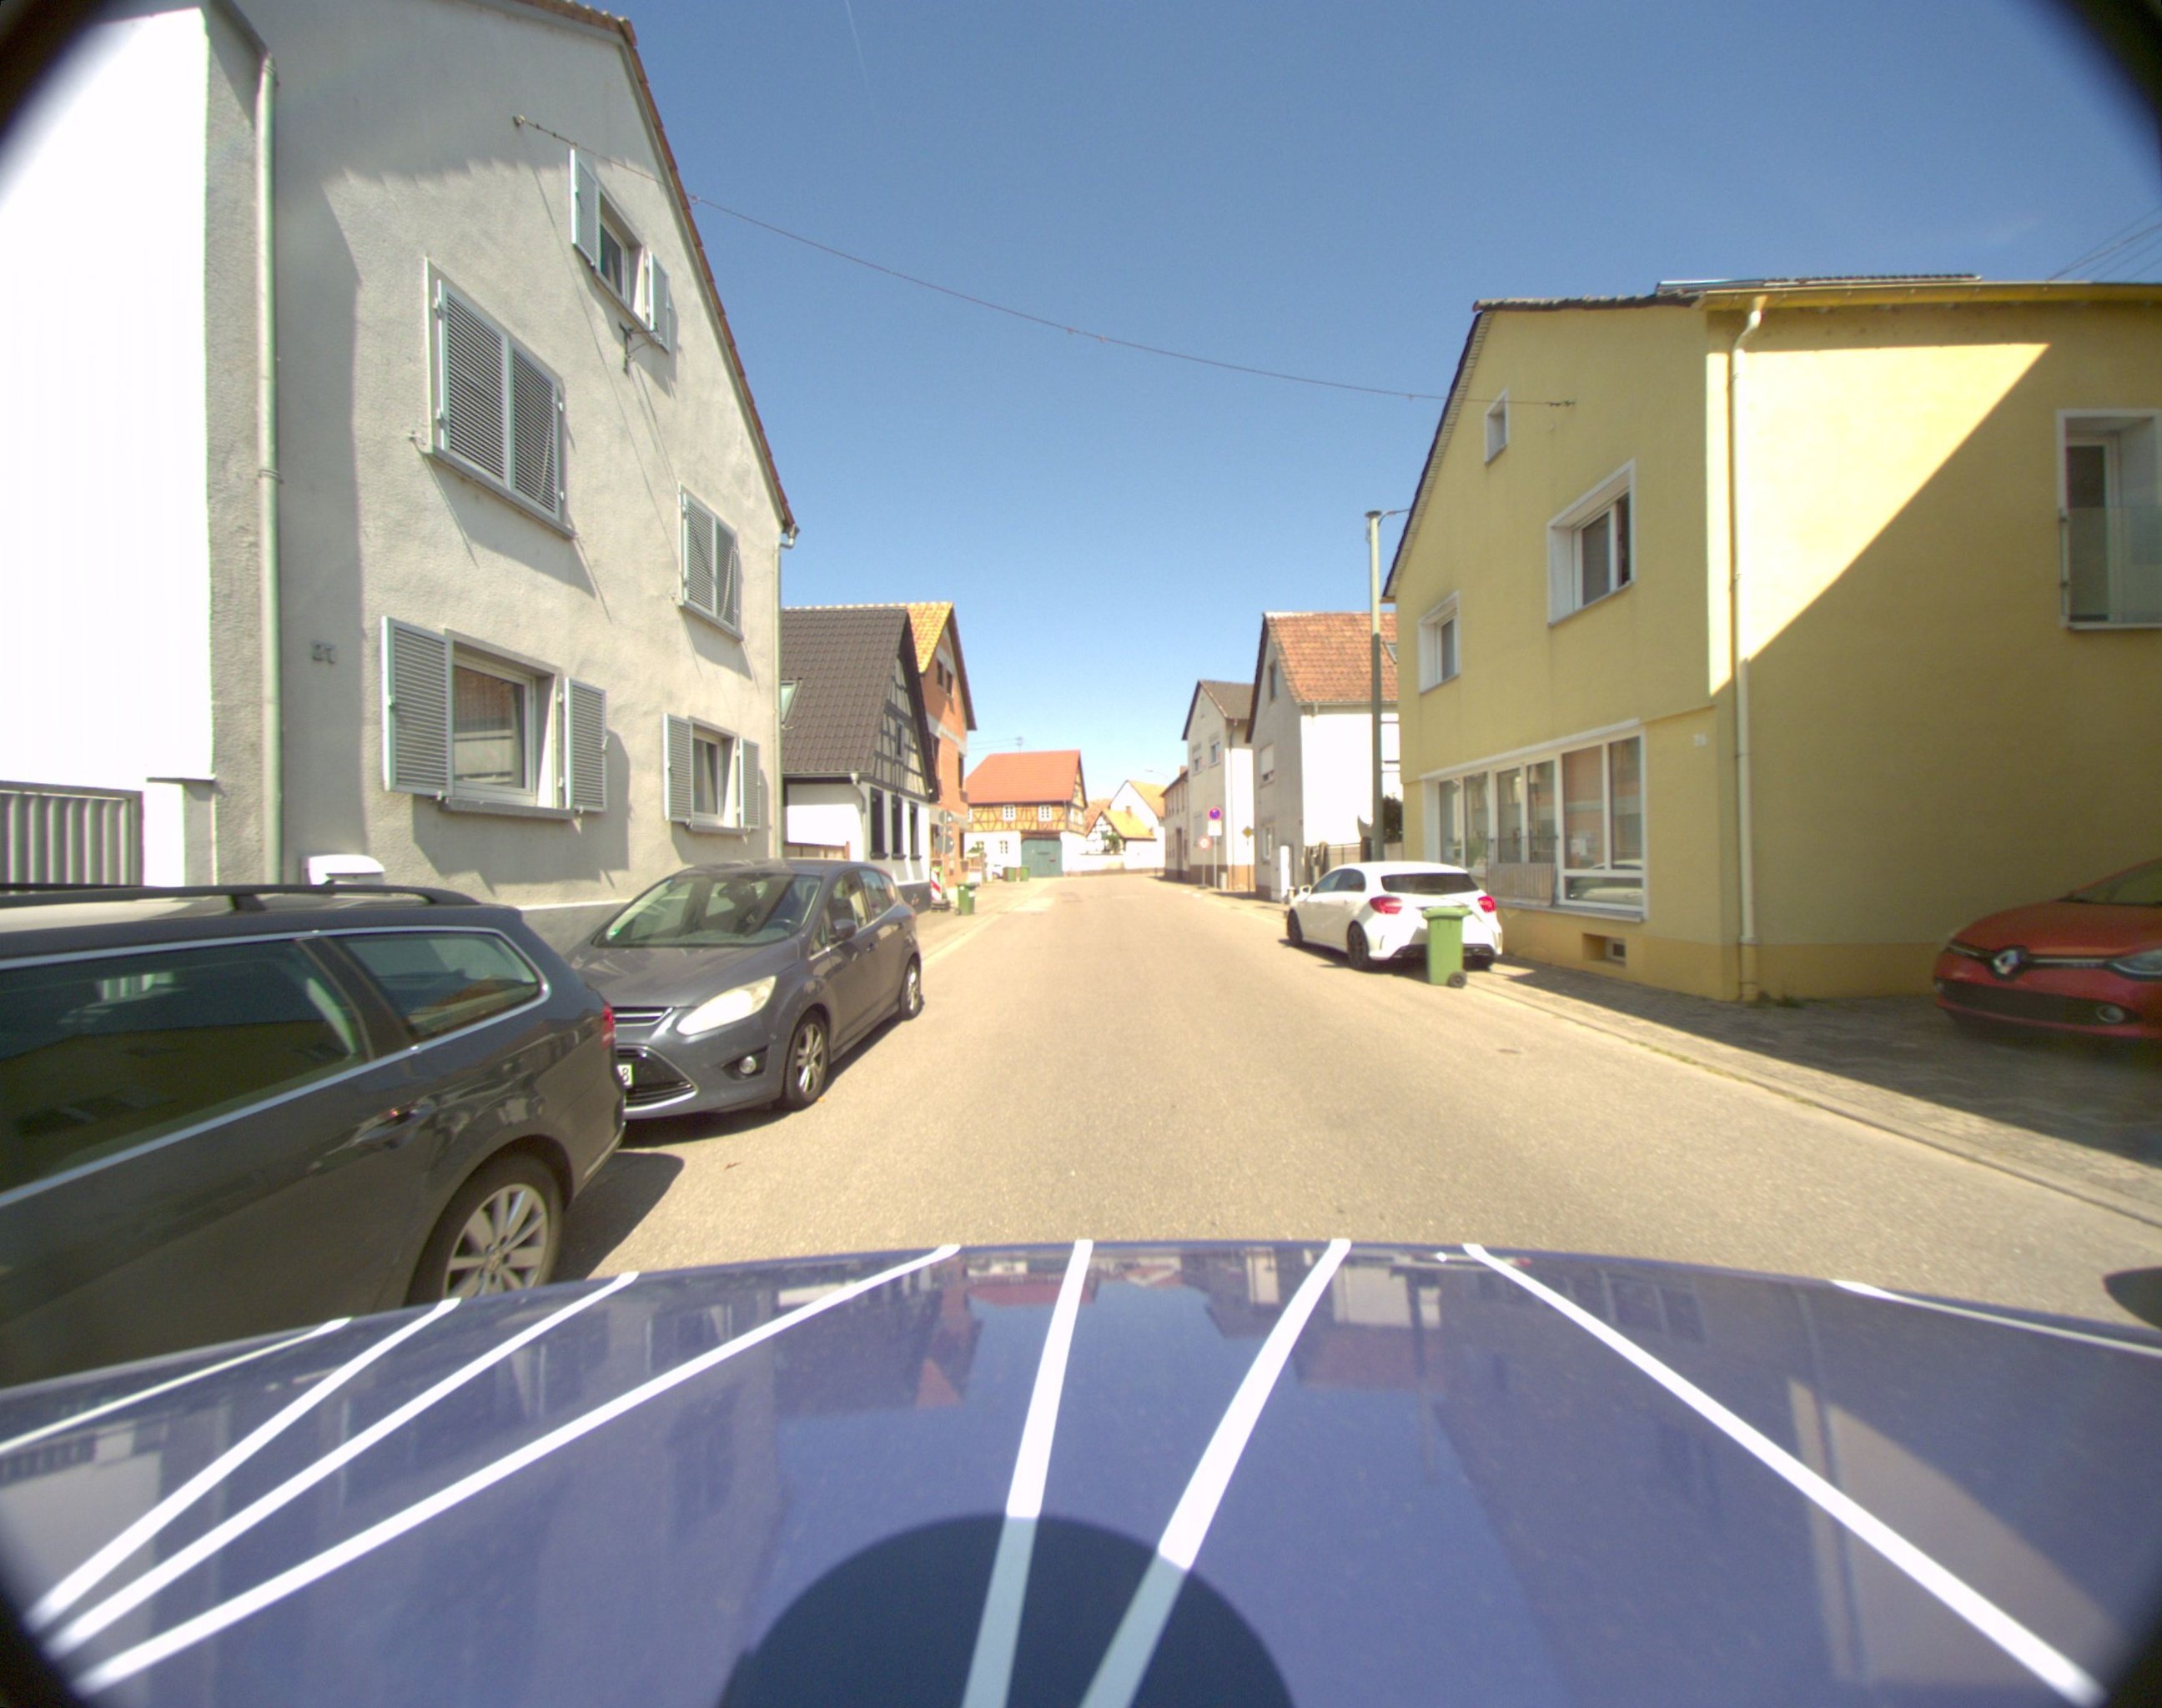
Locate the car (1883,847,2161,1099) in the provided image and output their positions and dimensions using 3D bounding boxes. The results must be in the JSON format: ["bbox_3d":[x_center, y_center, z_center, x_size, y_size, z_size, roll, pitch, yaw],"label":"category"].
[{"bbox_3d":[8.299,0.678,5.176,3.755,1.449,1.675,-1,0,4],"label":"car"}]

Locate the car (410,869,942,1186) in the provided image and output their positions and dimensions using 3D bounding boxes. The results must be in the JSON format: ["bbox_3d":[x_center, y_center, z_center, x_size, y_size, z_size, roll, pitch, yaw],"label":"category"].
[{"bbox_3d":[-2.552,0.963,6.295,1.802,1.551,4.631,-1,0,2],"label":"car"}]

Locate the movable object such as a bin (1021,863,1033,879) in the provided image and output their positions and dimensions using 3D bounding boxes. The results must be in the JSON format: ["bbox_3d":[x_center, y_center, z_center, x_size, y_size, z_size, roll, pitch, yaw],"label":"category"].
[{"bbox_3d":[-3.724,1.202,52.480,0.688,1.085,0.638,-1,0,9],"label":"movable object such as a bin"}]

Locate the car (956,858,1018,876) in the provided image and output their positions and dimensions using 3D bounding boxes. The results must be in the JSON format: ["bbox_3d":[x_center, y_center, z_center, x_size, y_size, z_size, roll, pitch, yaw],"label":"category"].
[{"bbox_3d":[-7.816,1.096,63.508,4.759,1.443,2.002,-1,0,12],"label":"car"}]

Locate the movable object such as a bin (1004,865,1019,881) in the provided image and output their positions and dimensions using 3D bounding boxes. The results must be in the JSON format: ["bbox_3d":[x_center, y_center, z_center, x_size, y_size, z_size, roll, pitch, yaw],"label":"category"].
[{"bbox_3d":[-4.582,1.257,50.268,0.763,1.066,0.671,-1,0,-32],"label":"movable object such as a bin"}]

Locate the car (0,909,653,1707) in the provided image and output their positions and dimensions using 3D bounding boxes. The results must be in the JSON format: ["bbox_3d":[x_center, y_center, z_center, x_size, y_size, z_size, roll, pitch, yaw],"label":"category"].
[{"bbox_3d":[-2.716,0.994,0.889,1.824,1.499,4.581,-1,0,0],"label":"car"}]

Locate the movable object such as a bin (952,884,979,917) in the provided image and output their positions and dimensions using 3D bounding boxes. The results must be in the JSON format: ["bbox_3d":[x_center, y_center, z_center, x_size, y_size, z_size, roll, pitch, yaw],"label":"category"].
[{"bbox_3d":[-3.220,1.292,21.210,0.538,0.908,0.552,-1,1,18],"label":"movable object such as a bin"}]

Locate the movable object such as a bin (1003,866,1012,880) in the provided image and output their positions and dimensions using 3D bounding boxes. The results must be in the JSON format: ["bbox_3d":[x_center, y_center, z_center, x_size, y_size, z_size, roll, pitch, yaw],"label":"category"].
[{"bbox_3d":[-4.999,1.303,51.632,0.466,0.965,0.496,-1,0,8],"label":"movable object such as a bin"}]

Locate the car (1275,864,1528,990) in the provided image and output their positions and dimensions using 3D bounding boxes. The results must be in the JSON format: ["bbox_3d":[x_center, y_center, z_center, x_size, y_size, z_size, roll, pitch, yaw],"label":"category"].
[{"bbox_3d":[4.418,0.905,11.299,1.839,1.455,4.269,0,0,-2],"label":"car"}]

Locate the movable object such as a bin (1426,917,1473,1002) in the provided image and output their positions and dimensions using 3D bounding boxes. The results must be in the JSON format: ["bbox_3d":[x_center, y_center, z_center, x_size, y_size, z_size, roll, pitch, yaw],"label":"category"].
[{"bbox_3d":[4.248,1.202,8.775,0.425,0.899,0.497,-1,1,19],"label":"movable object such as a bin"}]
